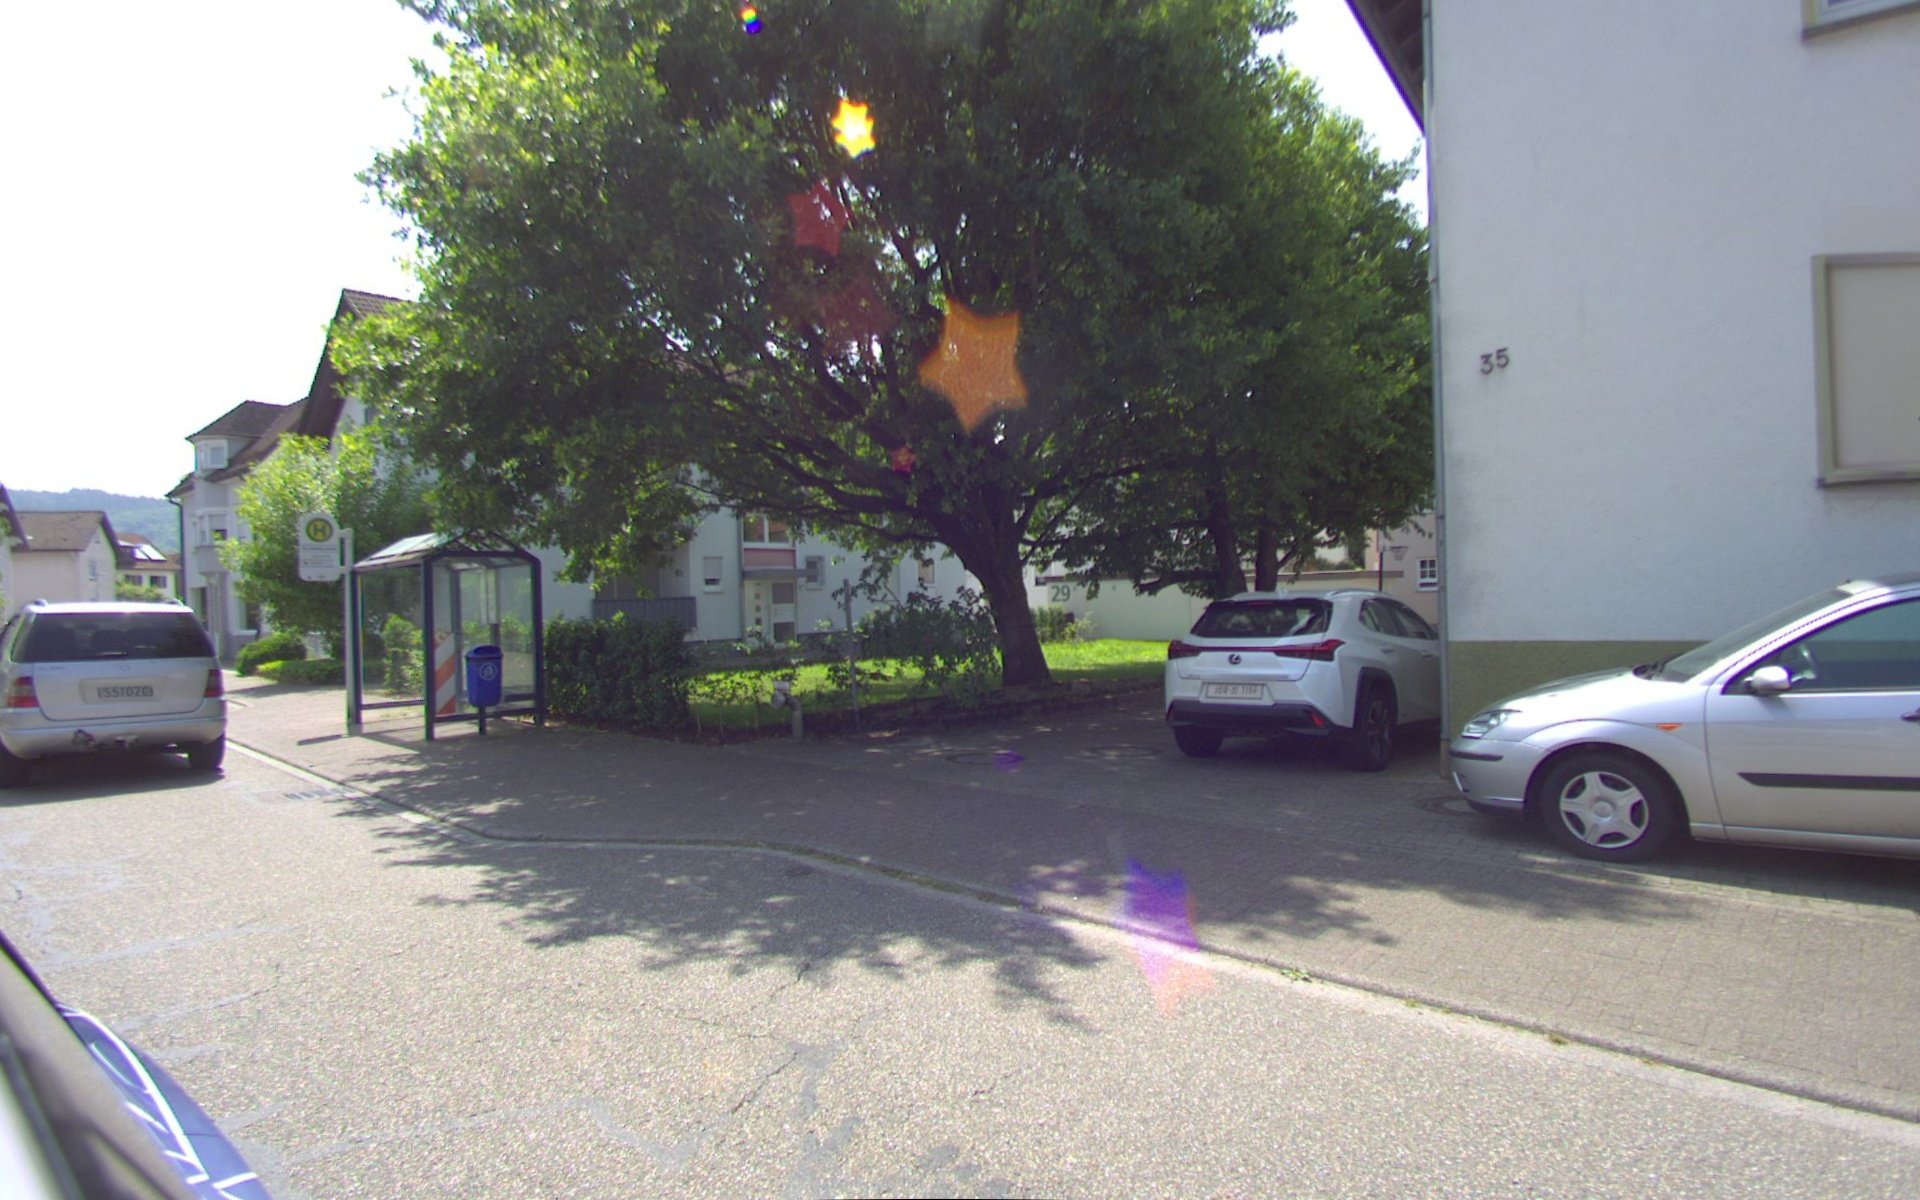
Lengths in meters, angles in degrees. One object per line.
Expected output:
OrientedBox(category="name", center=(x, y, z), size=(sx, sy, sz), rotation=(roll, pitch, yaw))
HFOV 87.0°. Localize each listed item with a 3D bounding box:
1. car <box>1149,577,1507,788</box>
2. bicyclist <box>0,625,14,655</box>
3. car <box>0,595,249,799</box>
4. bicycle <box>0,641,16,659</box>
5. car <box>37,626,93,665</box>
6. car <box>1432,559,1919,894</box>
OrientedBox(category="car", center=(3.655, 0.666, 9.615), size=(1.773, 1.550, 4.115), rotation=(-3, -3, 42))
OrientedBox(category="bicyclist", center=(-48.939, 2.040, 51.693), size=(0.538, 1.501, 0.799), rotation=(-1, 0, -13))
OrientedBox(category="car", center=(-9.434, 0.907, 10.977), size=(4.329, 1.780, 1.866), rotation=(-2, -2, 41))
OrientedBox(category="bicycle", center=(-48.908, 2.560, 51.605), size=(0.513, 0.911, 1.316), rotation=(-1, 0, -13))
OrientedBox(category="car", center=(-41.055, 2.057, 46.386), size=(1.755, 1.635, 4.108), rotation=(-1, -1, -44))
OrientedBox(category="car", center=(4.759, 0.524, 4.992), size=(4.053, 1.445, 1.760), rotation=(-3, -1, 41))
